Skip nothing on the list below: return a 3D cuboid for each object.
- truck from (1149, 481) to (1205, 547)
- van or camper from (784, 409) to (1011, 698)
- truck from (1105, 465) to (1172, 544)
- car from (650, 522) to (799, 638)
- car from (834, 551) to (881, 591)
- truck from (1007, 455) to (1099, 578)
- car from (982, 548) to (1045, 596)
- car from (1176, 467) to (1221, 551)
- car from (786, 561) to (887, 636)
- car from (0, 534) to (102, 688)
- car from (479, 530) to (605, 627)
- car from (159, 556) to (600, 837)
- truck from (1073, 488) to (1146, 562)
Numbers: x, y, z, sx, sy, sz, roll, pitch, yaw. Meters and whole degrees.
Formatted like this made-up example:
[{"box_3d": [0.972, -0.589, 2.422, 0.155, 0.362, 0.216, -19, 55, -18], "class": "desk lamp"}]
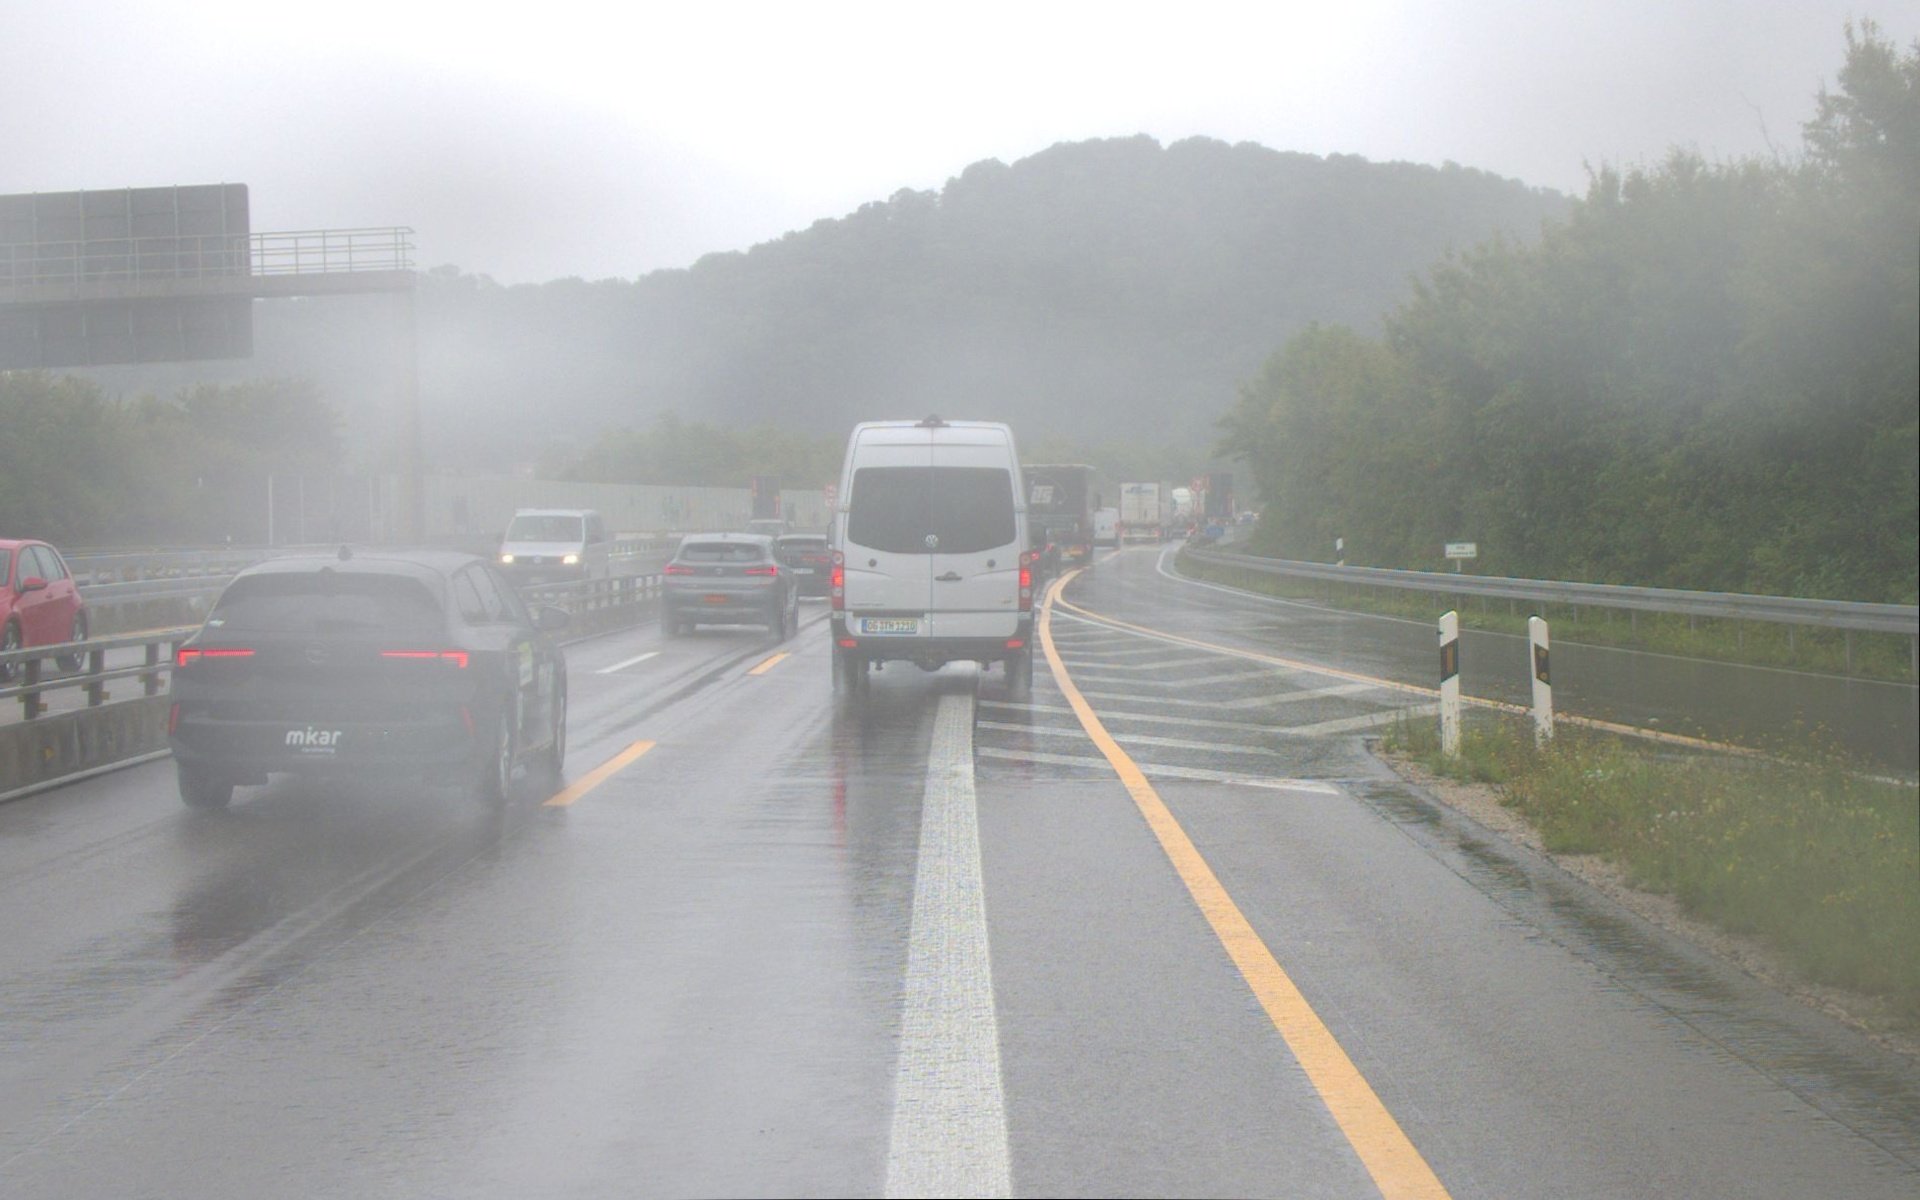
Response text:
[{"box_3d": [16.447, -6.477, 260.063, 3.929, 4.768, 9.905, 1, 0, 4], "class": "truck"}, {"box_3d": [-0.572, -0.470, 34.734, 2.139, 2.712, 4.648, 0, 1, 1], "class": "van or camper"}, {"box_3d": [11.560, -6.107, 221.699, 3.929, 4.768, 9.905, 1, 0, 4], "class": "truck"}, {"box_3d": [-3.471, -0.315, 51.202, 1.867, 1.653, 3.988, 0, 1, 1], "class": "car"}, {"box_3d": [-2.863, -0.823, 96.290, 1.262, 1.074, 3.255, 0, 1, -1], "class": "car"}, {"box_3d": [3.712, -3.316, 139.553, 3.320, 4.768, 9.907, 1, 0, 0], "class": "truck"}, {"box_3d": [1.409, -0.751, 91.539, 1.384, 1.252, 3.123, 0, 1, -4], "class": "car"}, {"box_3d": [12.173, -4.604, 175.860, 2.058, 4.177, 6.746, 0, 1, 2], "class": "car"}, {"box_3d": [-2.539, -0.053, 71.274, 1.852, 1.495, 4.000, 0, 1, 1], "class": "car"}, {"box_3d": [-10.198, 0.072, 35.540, 1.608, 1.499, 4.217, 1, 0, 0], "class": "car"}, {"box_3d": [-9.047, -0.476, 74.846, 1.908, 2.007, 5.828, 1, 0, 1], "class": "car"}, {"box_3d": [-3.230, 0.466, 20.037, 1.938, 1.422, 4.761, 1, 1, -2], "class": "car"}, {"box_3d": [7.861, -3.926, 182.090, 3.320, 3.749, 9.907, 1, 0, 0], "class": "truck"}]
